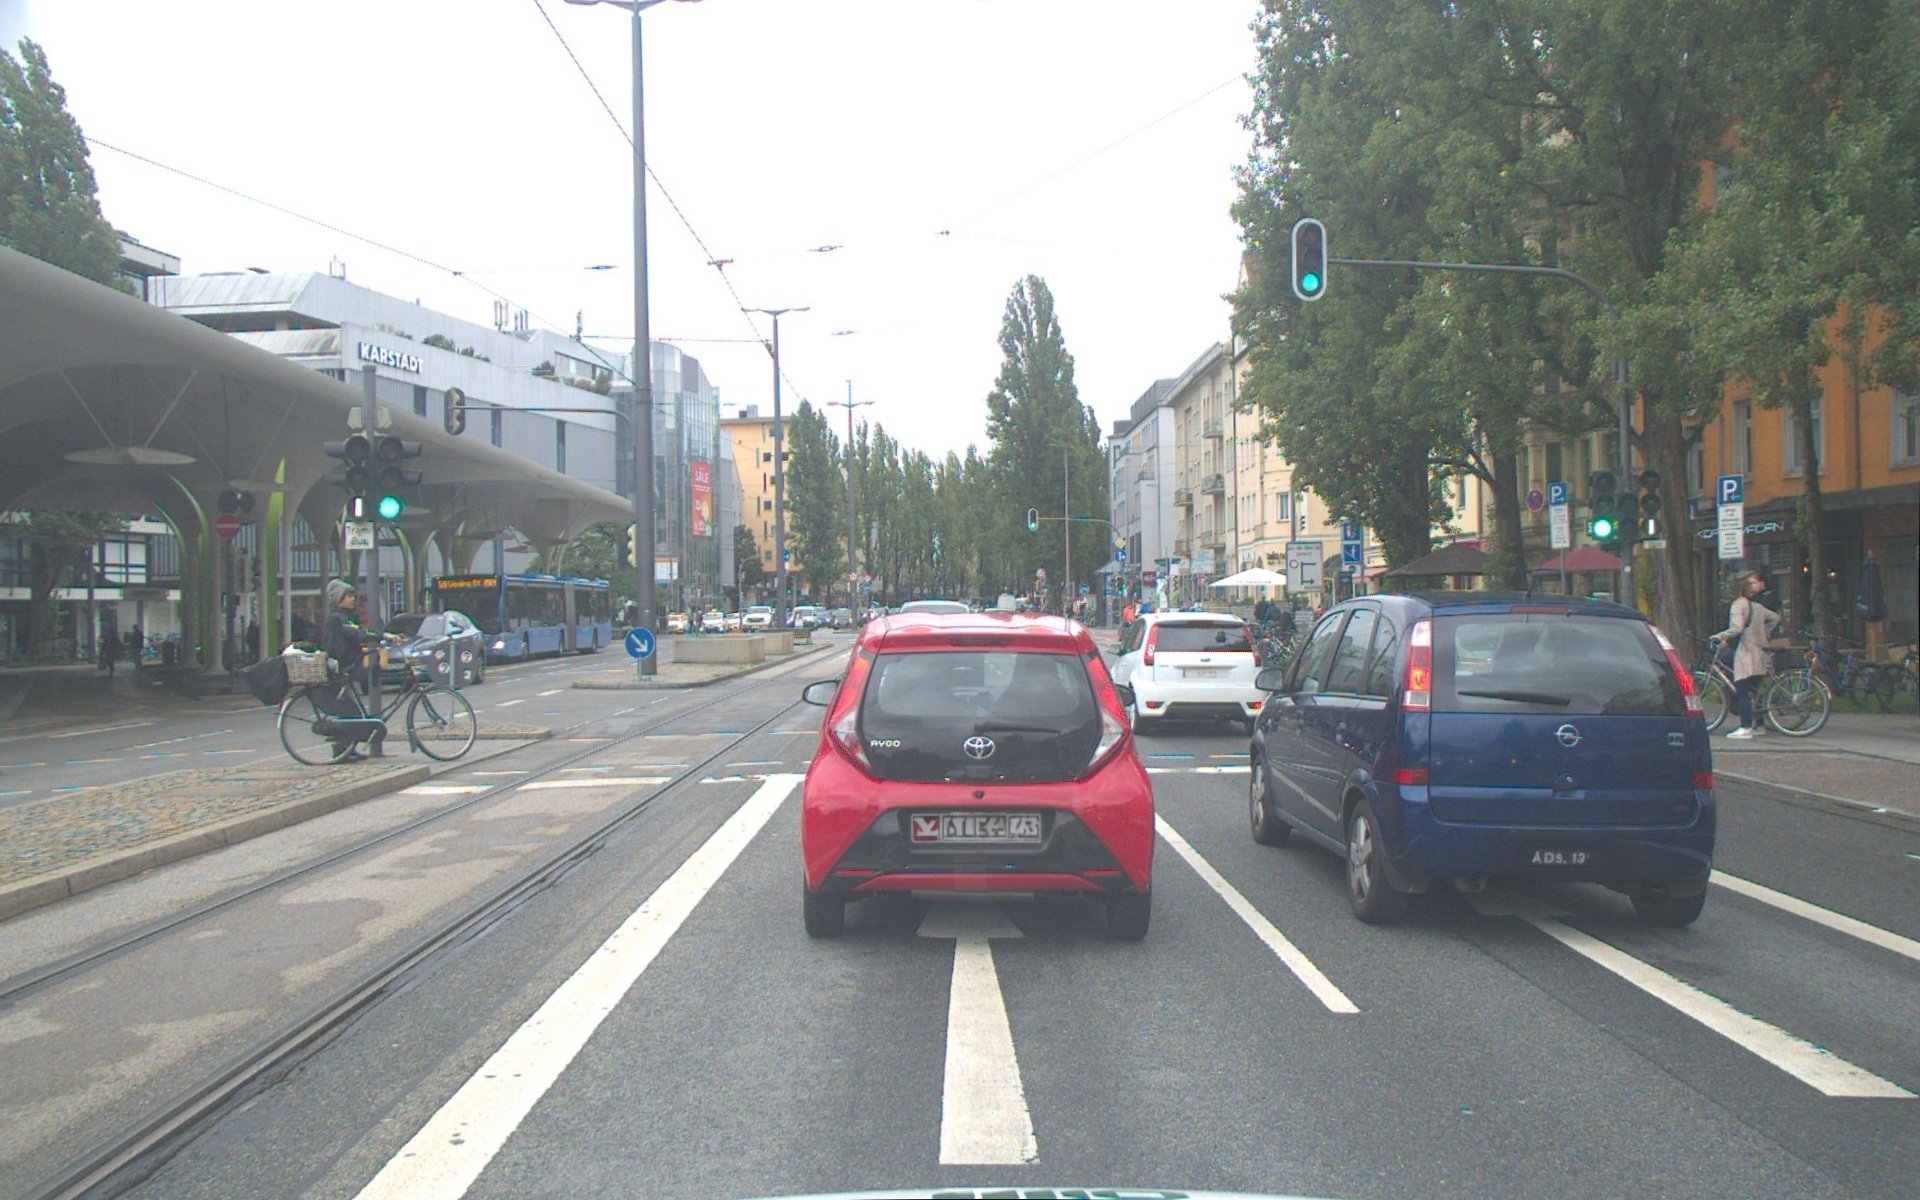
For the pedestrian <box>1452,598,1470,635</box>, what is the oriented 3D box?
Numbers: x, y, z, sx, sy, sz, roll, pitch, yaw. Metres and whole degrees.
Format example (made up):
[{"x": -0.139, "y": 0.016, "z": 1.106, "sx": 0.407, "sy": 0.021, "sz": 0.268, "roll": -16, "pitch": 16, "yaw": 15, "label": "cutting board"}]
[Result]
[{"x": 18.975, "y": 0.627, "z": 62.687, "sx": 0.485, "sy": 1.355, "sz": 0.552, "roll": -1, "pitch": -1, "yaw": -1, "label": "pedestrian"}]

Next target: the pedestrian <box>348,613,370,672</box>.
[{"x": -18.373, "y": 1.285, "z": 50.555, "sx": 0.557, "sy": 1.774, "sz": 0.751, "roll": -1, "pitch": 0, "yaw": -22, "label": "pedestrian"}]

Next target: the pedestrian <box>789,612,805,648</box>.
[{"x": -7.560, "y": 1.386, "z": 76.780, "sx": 0.482, "sy": 1.647, "sz": 0.551, "roll": -1, "pitch": -1, "yaw": -35, "label": "pedestrian"}]

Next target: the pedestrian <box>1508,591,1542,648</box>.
[{"x": 16.643, "y": 0.575, "z": 48.765, "sx": 0.696, "sy": 1.661, "sz": 0.786, "roll": -1, "pitch": 0, "yaw": -1, "label": "pedestrian"}]

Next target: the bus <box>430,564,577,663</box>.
[{"x": -15.961, "y": 0.452, "z": 58.711, "sx": 2.607, "sy": 3.060, "sz": 10.509, "roll": -3, "pitch": 0, "yaw": -3, "label": "bus"}]

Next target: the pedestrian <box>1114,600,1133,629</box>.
[{"x": 9.860, "y": 0.896, "z": 99.978, "sx": 0.820, "sy": 1.720, "sz": 0.816, "roll": -2, "pitch": 0, "yaw": 37, "label": "pedestrian"}]

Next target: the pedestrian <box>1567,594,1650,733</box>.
[{"x": 7.566, "y": 0.729, "z": 19.325, "sx": 0.743, "sy": 1.590, "sz": 0.763, "roll": -1, "pitch": 0, "yaw": 9, "label": "pedestrian"}]

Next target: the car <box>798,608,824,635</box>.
[{"x": -11.130, "y": 1.577, "z": 123.798, "sx": 1.750, "sy": 1.887, "sz": 4.215, "roll": -2, "pitch": 0, "yaw": -3, "label": "car"}]

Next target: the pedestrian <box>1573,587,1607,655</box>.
[{"x": 16.491, "y": 0.550, "z": 43.287, "sx": 0.588, "sy": 1.770, "sz": 0.666, "roll": -1, "pitch": -1, "yaw": -1, "label": "pedestrian"}]

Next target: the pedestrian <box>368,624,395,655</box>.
[{"x": -25.426, "y": 1.747, "z": 72.683, "sx": 0.832, "sy": 1.340, "sz": 0.865, "roll": 0, "pitch": -1, "yaw": -45, "label": "pedestrian"}]

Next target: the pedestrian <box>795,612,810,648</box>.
[{"x": -7.293, "y": 1.388, "z": 76.484, "sx": 0.513, "sy": 1.647, "sz": 0.461, "roll": -2, "pitch": -1, "yaw": 43, "label": "pedestrian"}]

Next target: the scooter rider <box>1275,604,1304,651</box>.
[{"x": 9.919, "y": 0.824, "z": 49.793, "sx": 0.686, "sy": 1.413, "sz": 0.643, "roll": -1, "pitch": 0, "yaw": -2, "label": "scooter rider"}]

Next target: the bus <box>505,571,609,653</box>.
[{"x": -16.376, "y": 0.477, "z": 67.721, "sx": 2.607, "sy": 3.060, "sz": 7.509, "roll": -3, "pitch": 0, "yaw": -3, "label": "bus"}]

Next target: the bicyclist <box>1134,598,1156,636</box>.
[{"x": 9.352, "y": 0.870, "z": 83.581, "sx": 0.749, "sy": 1.902, "sz": 1.129, "roll": -1, "pitch": 0, "yaw": -11, "label": "bicyclist"}]

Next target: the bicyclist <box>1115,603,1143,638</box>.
[{"x": 8.255, "y": 0.992, "z": 80.713, "sx": 0.610, "sy": 1.686, "sz": 1.232, "roll": -1, "pitch": 0, "yaw": -41, "label": "bicyclist"}]

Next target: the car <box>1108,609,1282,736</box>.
[{"x": 2.899, "y": 0.857, "z": 21.045, "sx": 1.665, "sy": 1.451, "sz": 3.496, "roll": 1, "pitch": 0, "yaw": -1, "label": "car"}]

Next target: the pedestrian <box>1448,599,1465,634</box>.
[{"x": 19.081, "y": 0.636, "z": 63.582, "sx": 0.485, "sy": 1.312, "sz": 0.552, "roll": -1, "pitch": -1, "yaw": -1, "label": "pedestrian"}]

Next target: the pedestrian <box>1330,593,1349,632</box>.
[{"x": 15.985, "y": 0.526, "z": 69.634, "sx": 0.602, "sy": 1.661, "sz": 0.677, "roll": -1, "pitch": -1, "yaw": -1, "label": "pedestrian"}]

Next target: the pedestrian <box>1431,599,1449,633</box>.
[{"x": 18.429, "y": 0.618, "z": 63.524, "sx": 0.485, "sy": 1.312, "sz": 0.552, "roll": -1, "pitch": -1, "yaw": -1, "label": "pedestrian"}]

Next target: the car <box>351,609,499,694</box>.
[{"x": -11.813, "y": 1.089, "z": 36.846, "sx": 1.825, "sy": 1.667, "sz": 4.676, "roll": -3, "pitch": 0, "yaw": -2, "label": "car"}]

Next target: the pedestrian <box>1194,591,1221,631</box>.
[{"x": 10.913, "y": 0.487, "z": 72.945, "sx": 0.867, "sy": 1.773, "sz": 0.854, "roll": -1, "pitch": 0, "yaw": -17, "label": "pedestrian"}]

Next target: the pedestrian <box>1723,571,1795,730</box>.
[{"x": 9.301, "y": 0.569, "z": 19.251, "sx": 0.686, "sy": 1.811, "sz": 0.649, "roll": 0, "pitch": 0, "yaw": 33, "label": "pedestrian"}]

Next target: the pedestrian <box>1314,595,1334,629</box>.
[{"x": 15.481, "y": 0.520, "z": 70.366, "sx": 0.662, "sy": 1.447, "sz": 0.616, "roll": -1, "pitch": -1, "yaw": -1, "label": "pedestrian"}]

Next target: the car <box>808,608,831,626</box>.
[{"x": -11.602, "y": 1.388, "z": 136.600, "sx": 1.644, "sy": 1.420, "sz": 4.230, "roll": -3, "pitch": 0, "yaw": -3, "label": "car"}]

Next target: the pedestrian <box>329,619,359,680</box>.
[{"x": -18.097, "y": 1.432, "z": 48.573, "sx": 0.701, "sy": 1.752, "sz": 0.878, "roll": -1, "pitch": 0, "yaw": -15, "label": "pedestrian"}]

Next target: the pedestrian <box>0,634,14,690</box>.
[{"x": -28.627, "y": 1.842, "z": 49.122, "sx": 0.633, "sy": 1.646, "sz": 0.700, "roll": -1, "pitch": -1, "yaw": 3, "label": "pedestrian"}]

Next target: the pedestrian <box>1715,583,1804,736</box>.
[{"x": 9.015, "y": 0.647, "z": 18.645, "sx": 0.750, "sy": 1.666, "sz": 0.690, "roll": -1, "pitch": 1, "yaw": -44, "label": "pedestrian"}]

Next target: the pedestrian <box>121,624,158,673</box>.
[{"x": -30.431, "y": 1.787, "z": 61.355, "sx": 0.853, "sy": 1.760, "sz": 0.895, "roll": -2, "pitch": 0, "yaw": 0, "label": "pedestrian"}]

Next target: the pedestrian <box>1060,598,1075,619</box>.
[{"x": 8.076, "y": 0.663, "z": 123.825, "sx": 0.798, "sy": 1.548, "sz": 0.794, "roll": -2, "pitch": 0, "yaw": -25, "label": "pedestrian"}]

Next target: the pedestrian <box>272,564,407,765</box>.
[{"x": -5.870, "y": 0.601, "z": 15.686, "sx": 0.840, "sy": 1.843, "sz": 0.898, "roll": 0, "pitch": -1, "yaw": 11, "label": "pedestrian"}]

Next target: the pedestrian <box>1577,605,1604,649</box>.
[{"x": 18.886, "y": 0.798, "z": 49.556, "sx": 0.571, "sy": 1.303, "sz": 0.583, "roll": -1, "pitch": -1, "yaw": -2, "label": "pedestrian"}]

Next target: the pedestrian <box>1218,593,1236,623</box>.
[{"x": 16.689, "y": 0.500, "z": 103.519, "sx": 0.914, "sy": 1.786, "sz": 1.065, "roll": -1, "pitch": 0, "yaw": 0, "label": "pedestrian"}]

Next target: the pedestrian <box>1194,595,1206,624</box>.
[{"x": 14.355, "y": 0.540, "z": 99.089, "sx": 0.554, "sy": 1.700, "sz": 0.562, "roll": -1, "pitch": 3, "yaw": 22, "label": "pedestrian"}]

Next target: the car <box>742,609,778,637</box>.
[{"x": -14.778, "y": 1.659, "z": 122.386, "sx": 2.132, "sy": 1.920, "sz": 6.153, "roll": -2, "pitch": 0, "yaw": -2, "label": "car"}]

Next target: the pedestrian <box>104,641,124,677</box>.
[{"x": -30.740, "y": 2.134, "z": 60.076, "sx": 0.568, "sy": 1.287, "sz": 0.513, "roll": -1, "pitch": 0, "yaw": -35, "label": "pedestrian"}]

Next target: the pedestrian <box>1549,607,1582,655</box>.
[{"x": 15.786, "y": 0.801, "z": 43.110, "sx": 0.588, "sy": 1.243, "sz": 0.666, "roll": -1, "pitch": 0, "yaw": -1, "label": "pedestrian"}]
